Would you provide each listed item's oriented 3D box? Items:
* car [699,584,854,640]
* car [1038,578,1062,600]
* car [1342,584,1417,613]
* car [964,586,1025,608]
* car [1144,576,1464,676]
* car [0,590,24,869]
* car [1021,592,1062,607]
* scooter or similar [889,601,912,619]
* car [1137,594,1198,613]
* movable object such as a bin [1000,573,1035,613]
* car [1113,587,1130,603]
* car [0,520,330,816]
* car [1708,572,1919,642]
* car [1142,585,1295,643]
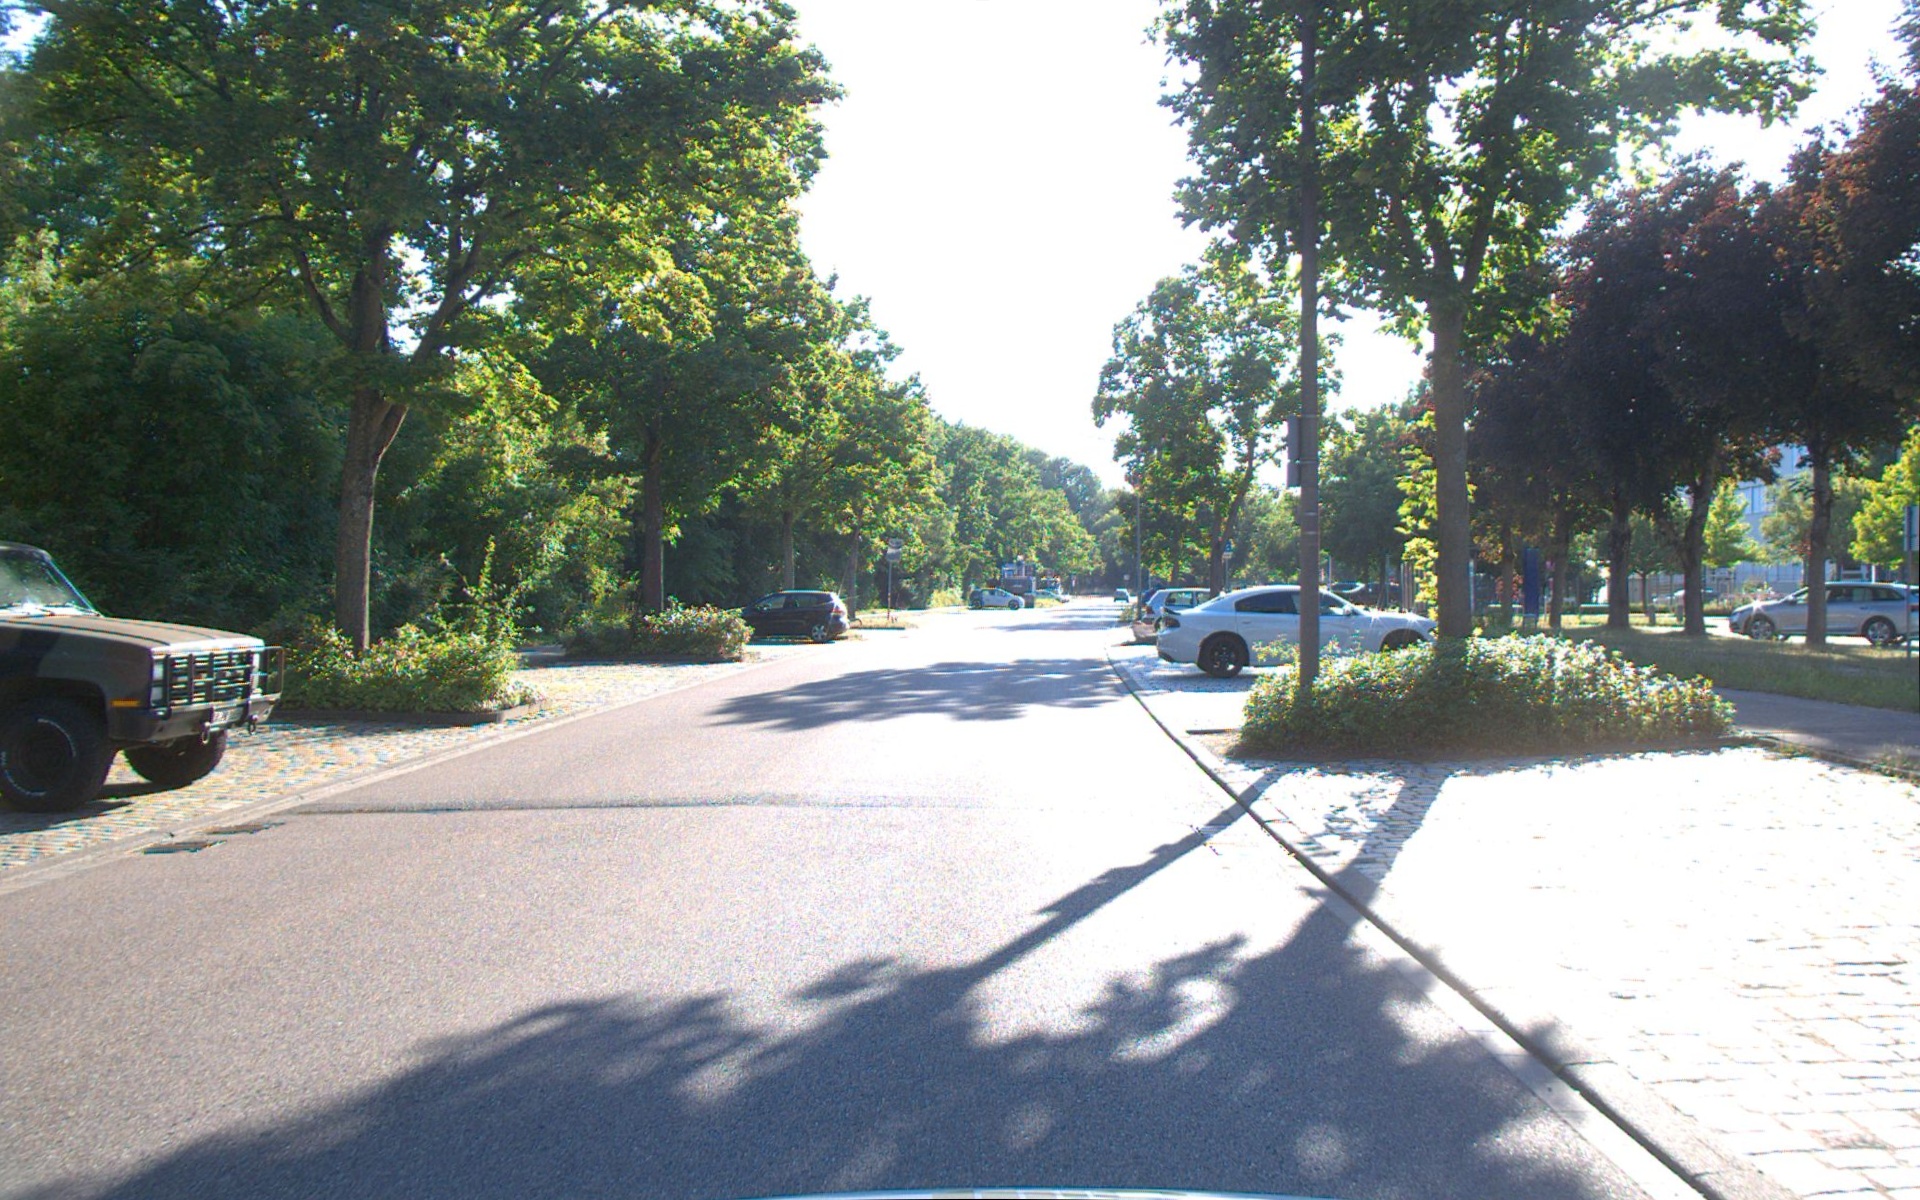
[{"bbox_3d":[-5.445,0.347,49.485,4.267,1.505,2.001,2,0,4],"label":"car"},{"bbox_3d":[10.018,-1.214,184.525,2.465,2.427,4.373,-1,0,0],"label":"car"},{"bbox_3d":[26.402,-0.082,104.239,4.335,1.735,2.061,-1,0,5],"label":"car"},{"bbox_3d":[2.572,-0.239,122.657,4.265,1.574,2.002,-1,0,7],"label":"car"},{"bbox_3d":[5.793,0.425,28.409,5.068,1.601,2.158,-1,0,1],"label":"car"},{"bbox_3d":[-7.429,0.749,8.596,4.126,1.557,1.705,-1,0,-1],"label":"car"},{"bbox_3d":[8.628,-0.057,175.264,4.269,1.505,2.000,-1,0,0],"label":"car"},{"bbox_3d":[-3.888,0.633,108.492,1.572,1.165,0.568,0,0,-44],"label":"scooter or similar"},{"bbox_3d":[16.345,0.272,130.484,4.738,1.505,2.002,-1,0,7],"label":"car"},{"bbox_3d":[4.741,-0.577,135.200,2.779,3.122,4.928,-1,0,2],"label":"movable object such as a bin"},{"bbox_3d":[19.509,-0.617,200.399,1.951,1.937,4.002,-1,0,5],"label":"car"},{"bbox_3d":[-7.694,0.487,12.638,4.902,2.055,2.174,-1,0,-1],"label":"car"},{"bbox_3d":[21.130,0.166,40.393,4.869,1.601,1.987,0,0,44],"label":"car"},{"bbox_3d":[7.616,0.406,48.601,4.265,1.505,2.002,-3,-1,13],"label":"car"}]
